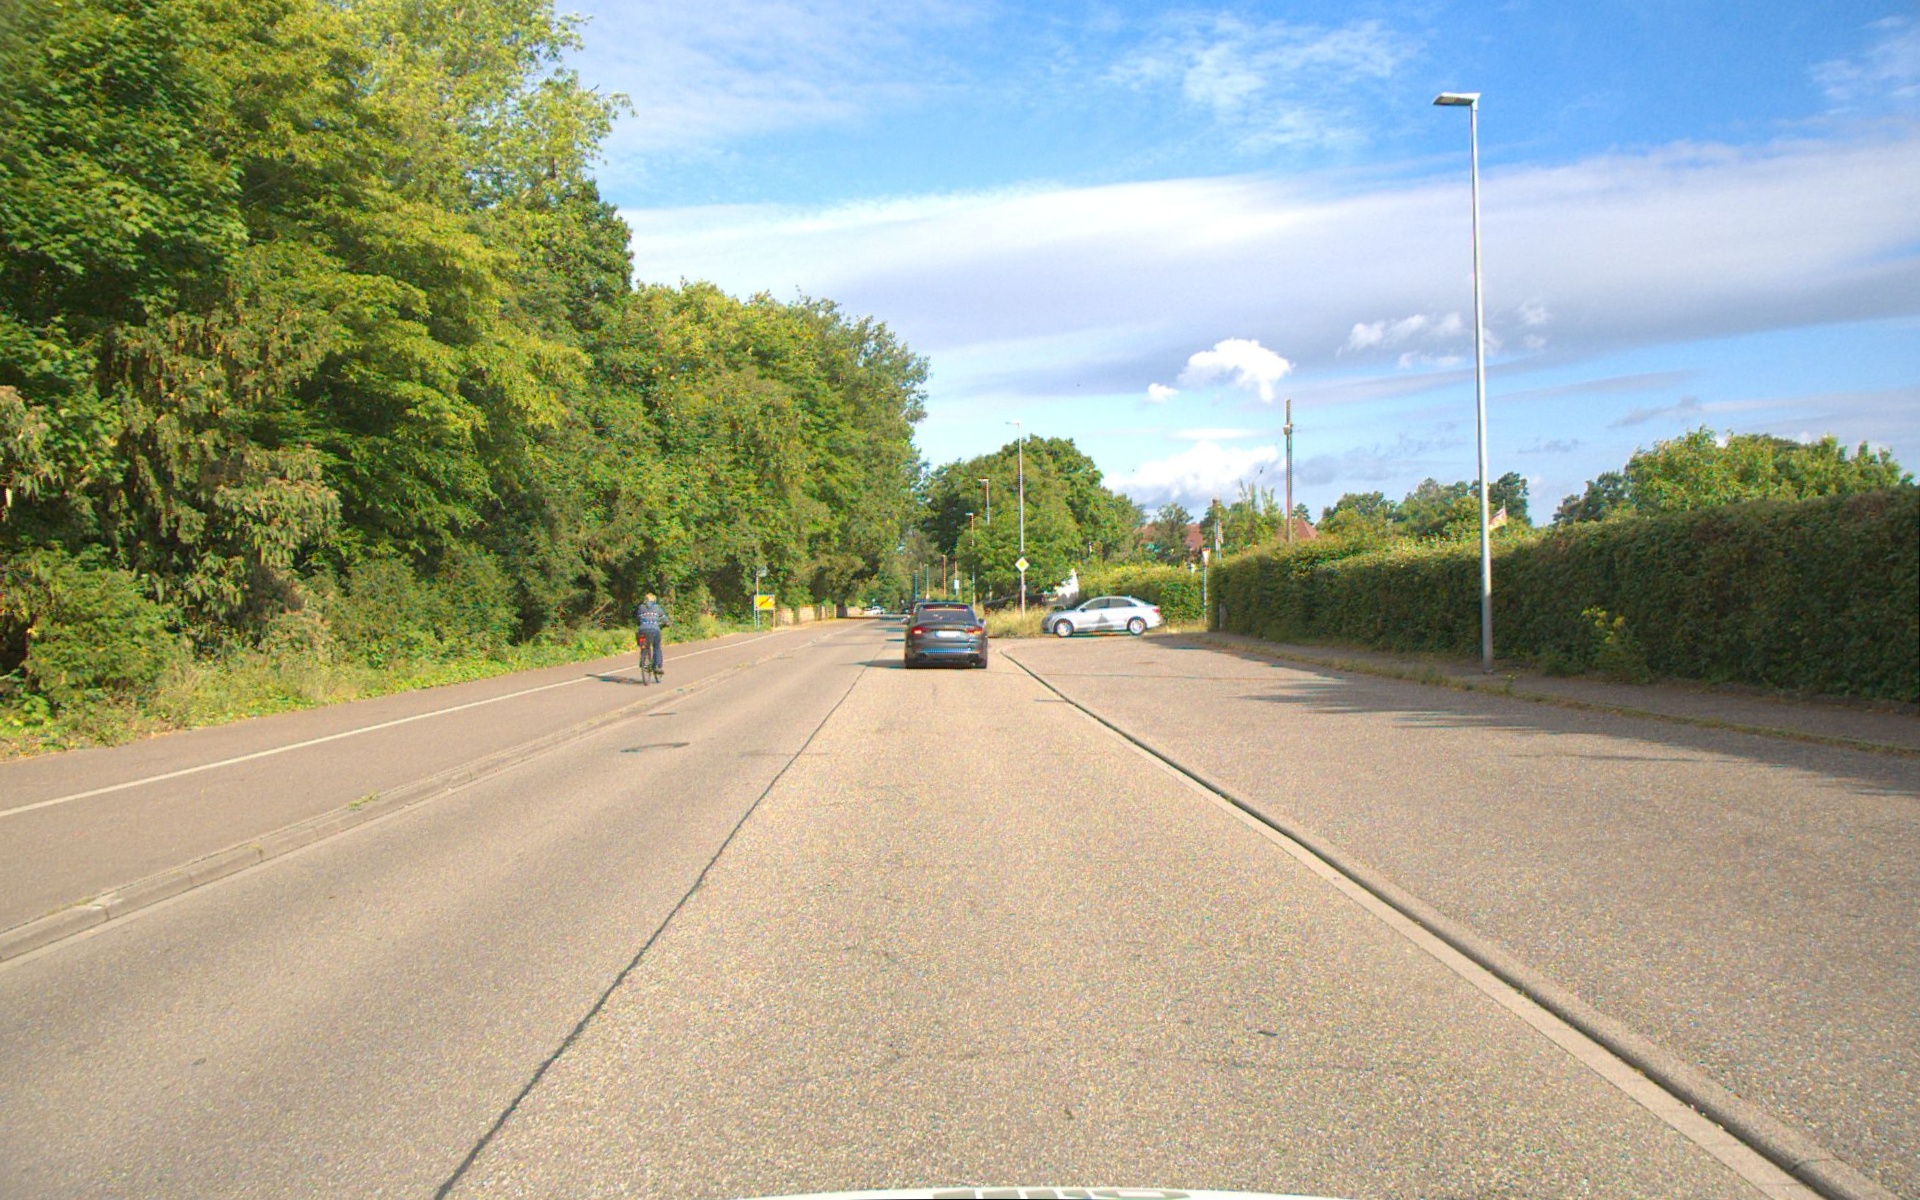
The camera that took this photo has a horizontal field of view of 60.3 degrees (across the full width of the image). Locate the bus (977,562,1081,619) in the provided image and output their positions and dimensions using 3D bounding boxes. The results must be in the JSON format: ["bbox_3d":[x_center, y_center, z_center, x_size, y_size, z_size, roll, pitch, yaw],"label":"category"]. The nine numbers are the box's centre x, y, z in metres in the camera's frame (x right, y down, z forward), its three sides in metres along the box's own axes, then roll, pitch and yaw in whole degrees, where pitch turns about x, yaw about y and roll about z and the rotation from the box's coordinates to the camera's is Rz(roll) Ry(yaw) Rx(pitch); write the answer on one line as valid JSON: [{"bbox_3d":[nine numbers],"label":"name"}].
[{"bbox_3d":[3.698,-0.523,88.902,5.260,2.794,2.067,-3,1,-4],"label":"bus"}]

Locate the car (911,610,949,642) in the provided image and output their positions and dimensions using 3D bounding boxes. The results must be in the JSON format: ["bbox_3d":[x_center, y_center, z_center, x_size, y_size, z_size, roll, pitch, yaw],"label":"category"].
[{"bbox_3d":[-1.544,1.309,84.378,1.849,1.490,4.052,-2,0,-2],"label":"car"}]

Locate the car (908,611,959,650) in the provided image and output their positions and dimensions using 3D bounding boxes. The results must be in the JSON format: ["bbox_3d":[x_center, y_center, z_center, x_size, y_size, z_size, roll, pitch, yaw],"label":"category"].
[{"bbox_3d":[-1.063,1.164,64.166,1.849,1.396,4.052,-2,0,-2],"label":"car"}]

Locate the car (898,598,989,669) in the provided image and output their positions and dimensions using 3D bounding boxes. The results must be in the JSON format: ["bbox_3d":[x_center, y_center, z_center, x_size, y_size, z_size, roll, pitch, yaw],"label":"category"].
[{"bbox_3d":[-0.363,0.708,37.275,1.926,1.459,4.335,0,0,-1],"label":"car"}]

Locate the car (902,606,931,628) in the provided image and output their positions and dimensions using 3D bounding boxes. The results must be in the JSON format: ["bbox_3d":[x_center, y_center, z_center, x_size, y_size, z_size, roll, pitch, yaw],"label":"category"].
[{"bbox_3d":[-2.906,1.115,109.392,1.849,1.396,4.052,-2,0,-2],"label":"car"}]

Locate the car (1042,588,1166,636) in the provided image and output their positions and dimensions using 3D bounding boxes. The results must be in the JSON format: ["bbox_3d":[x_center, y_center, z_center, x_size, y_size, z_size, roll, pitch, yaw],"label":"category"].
[{"bbox_3d":[5.133,0.433,58.902,4.270,1.468,1.933,-3,-1,5],"label":"car"}]

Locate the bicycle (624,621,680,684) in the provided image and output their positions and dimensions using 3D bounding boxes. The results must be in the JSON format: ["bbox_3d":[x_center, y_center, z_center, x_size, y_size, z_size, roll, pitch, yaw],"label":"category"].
[{"bbox_3d":[-5.869,0.989,31.586,0.649,1.116,2.348,0,0,-1],"label":"bicycle"}]

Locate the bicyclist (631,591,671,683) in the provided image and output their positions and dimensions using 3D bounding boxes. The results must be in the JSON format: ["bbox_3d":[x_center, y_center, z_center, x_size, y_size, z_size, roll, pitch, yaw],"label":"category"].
[{"bbox_3d":[-5.875,0.691,31.462,0.596,1.706,0.883,0,0,-1],"label":"bicyclist"}]
